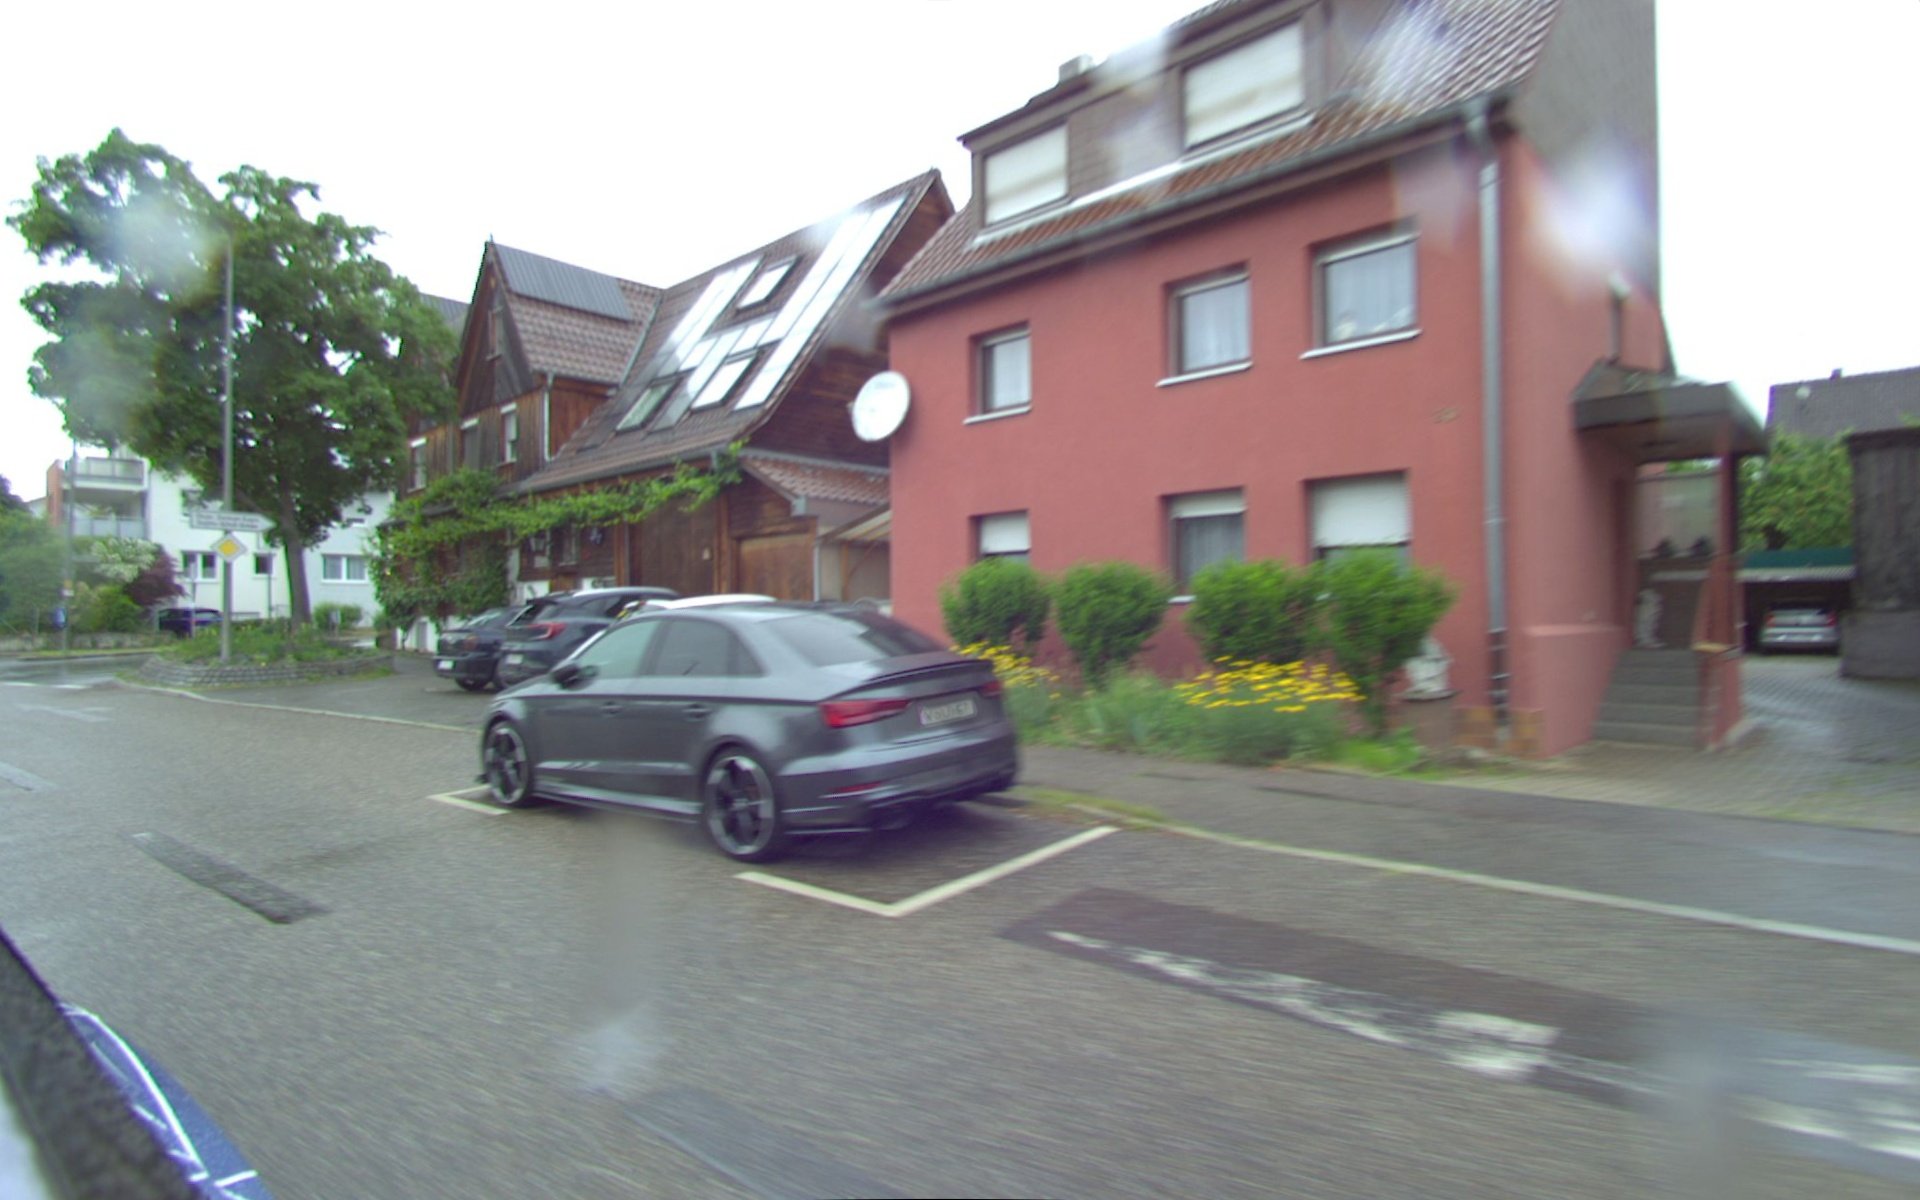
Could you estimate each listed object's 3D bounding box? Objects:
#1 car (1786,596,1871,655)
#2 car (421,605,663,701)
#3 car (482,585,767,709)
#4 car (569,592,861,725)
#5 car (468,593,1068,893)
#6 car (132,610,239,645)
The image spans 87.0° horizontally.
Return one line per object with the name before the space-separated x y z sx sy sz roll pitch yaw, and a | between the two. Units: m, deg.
car | 21.224 0.603 24.714 1.449 1.345 2.796 -1 -1 43
car | -6.936 0.823 17.001 1.632 1.429 3.408 -1 -1 42
car | -4.904 0.606 15.040 1.856 1.517 3.536 -1 1 44
car | -3.117 0.667 13.305 1.590 1.490 3.424 -1 0 42
car | -1.466 0.694 6.661 4.107 1.366 1.611 -1 1 40
car | -32.051 1.134 41.905 3.595 1.432 1.768 -1 -1 17
